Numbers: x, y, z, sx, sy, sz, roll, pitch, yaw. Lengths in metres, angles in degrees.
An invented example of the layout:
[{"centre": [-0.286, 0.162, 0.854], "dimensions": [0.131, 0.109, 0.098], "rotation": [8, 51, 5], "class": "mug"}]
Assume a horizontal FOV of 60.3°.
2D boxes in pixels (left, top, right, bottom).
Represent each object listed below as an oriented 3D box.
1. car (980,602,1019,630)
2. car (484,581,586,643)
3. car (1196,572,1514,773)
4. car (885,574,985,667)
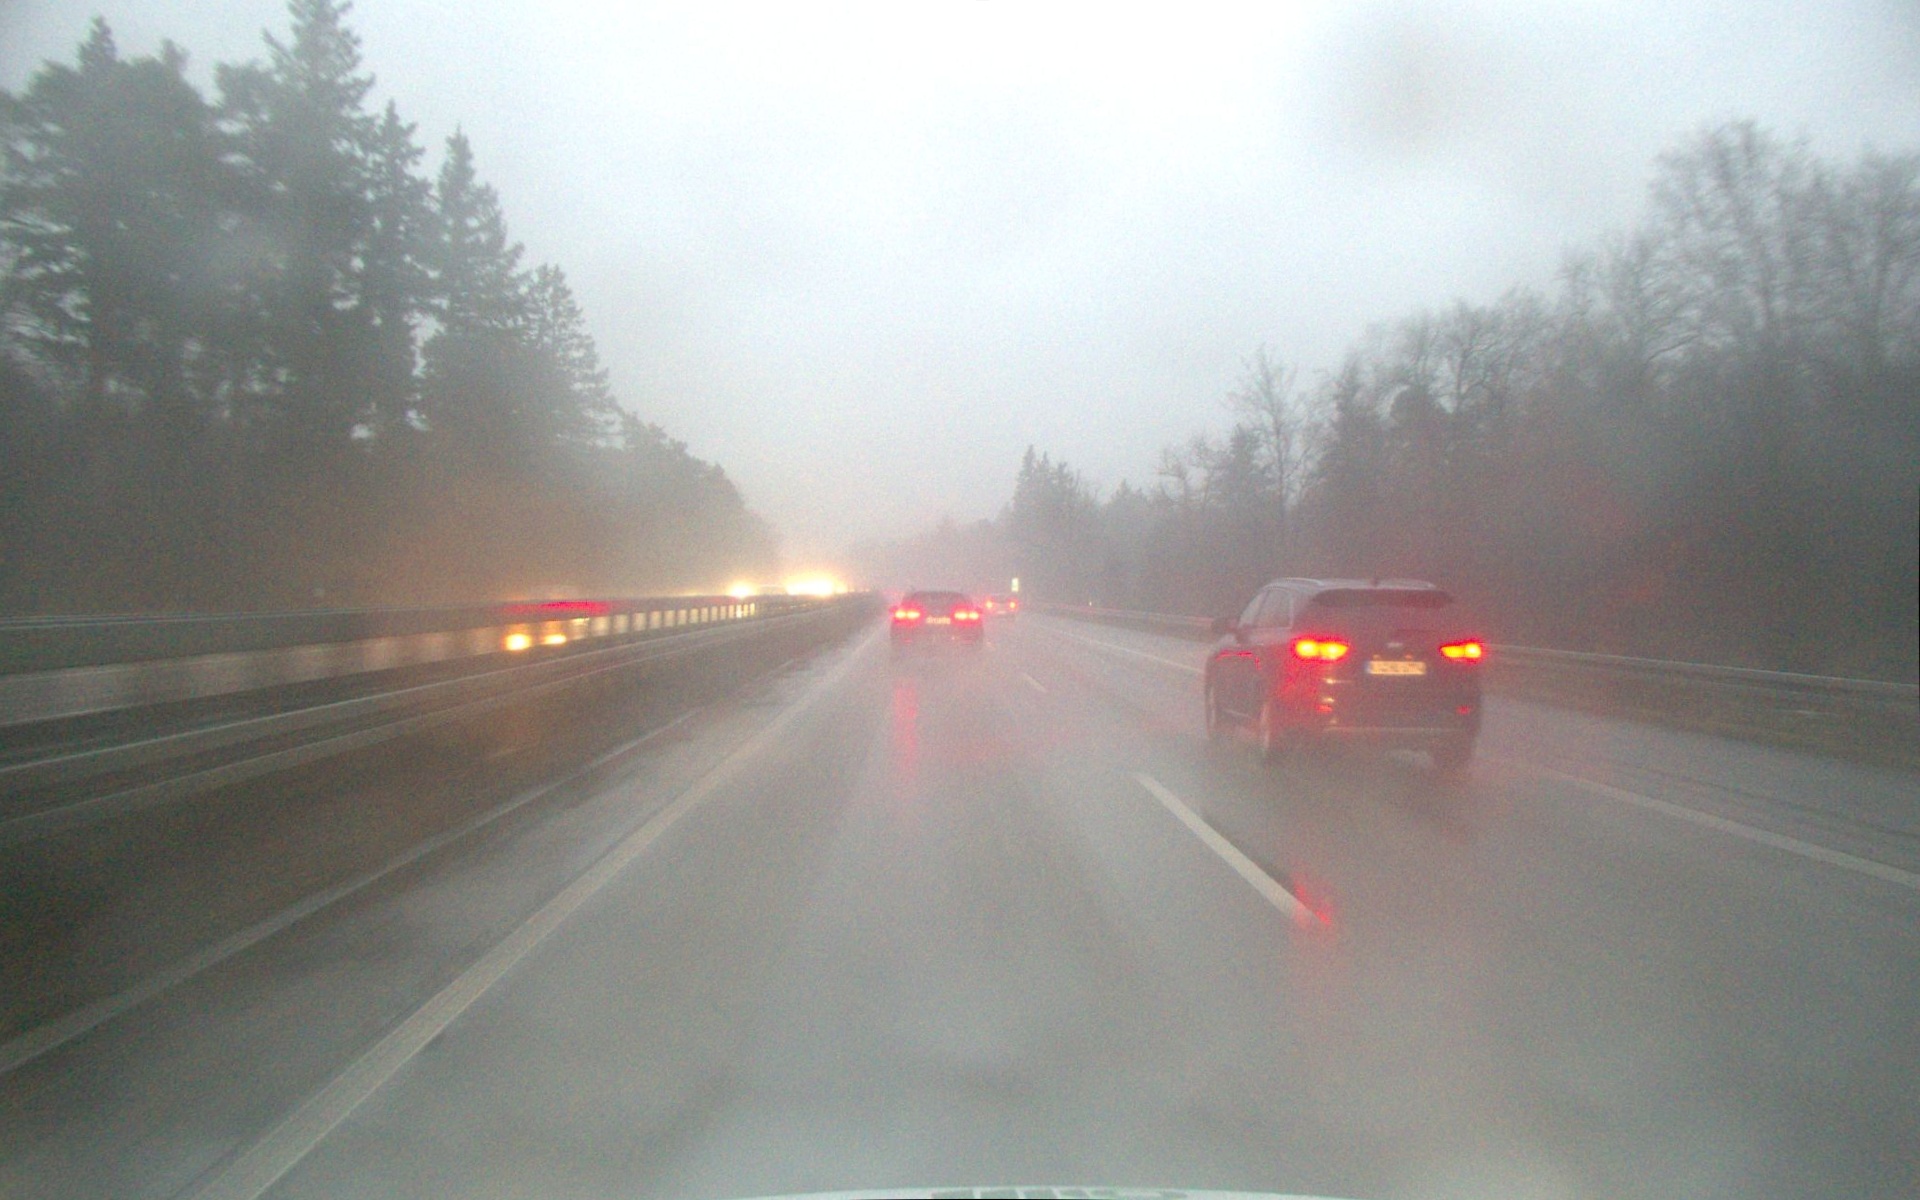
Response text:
[{"centre": [2.069, 0.837, 87.674], "dimensions": [1.745, 1.462, 3.534], "rotation": [1, 0, -4], "class": "car"}, {"centre": [-12.446, 0.398, 48.732], "dimensions": [1.954, 1.601, 4.270], "rotation": [4, -2, -2], "class": "car"}, {"centre": [3.751, 0.624, 16.578], "dimensions": [2.028, 1.727, 4.460], "rotation": [1, 0, -1], "class": "car"}, {"centre": [-0.563, 0.394, 34.365], "dimensions": [1.946, 1.798, 4.171], "rotation": [0, 0, -2], "class": "car"}]
